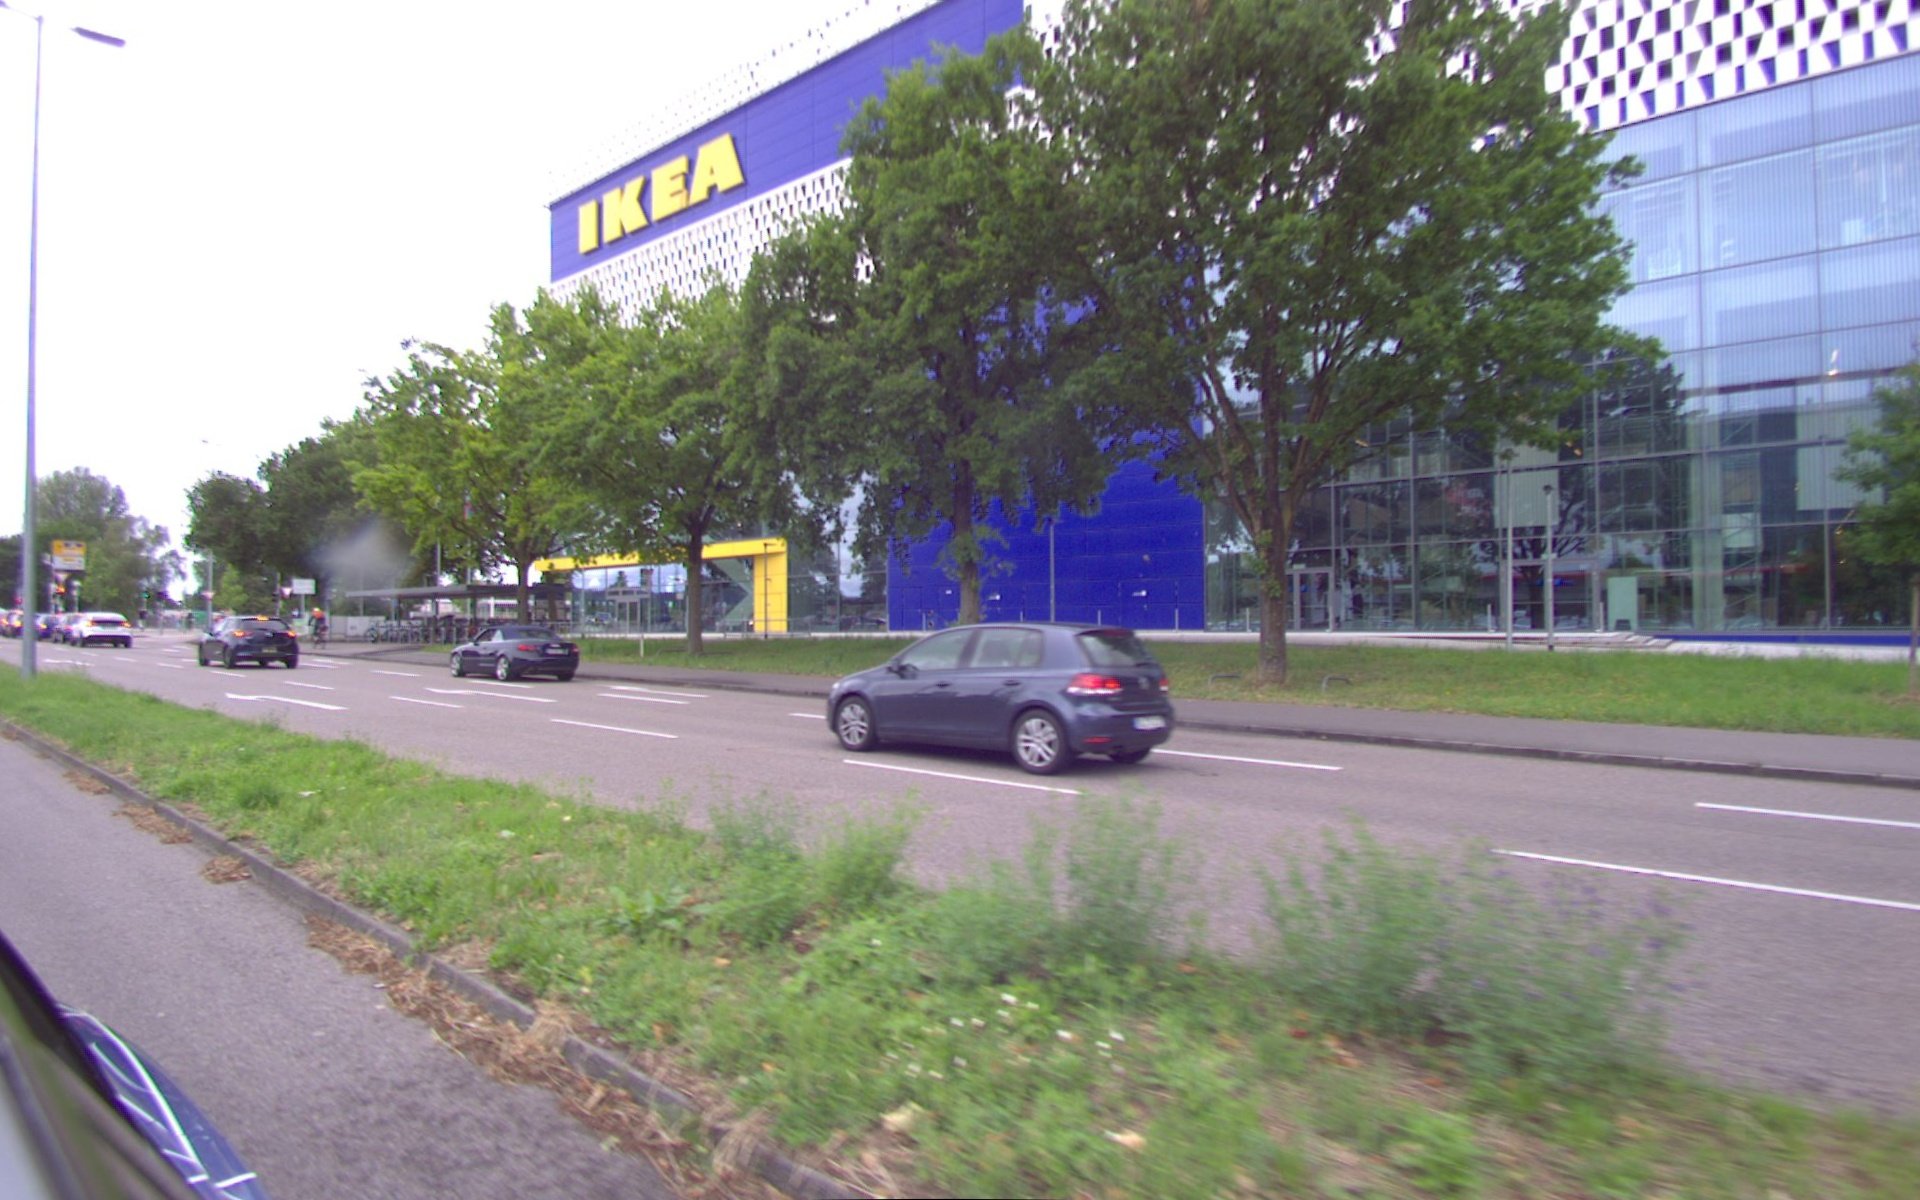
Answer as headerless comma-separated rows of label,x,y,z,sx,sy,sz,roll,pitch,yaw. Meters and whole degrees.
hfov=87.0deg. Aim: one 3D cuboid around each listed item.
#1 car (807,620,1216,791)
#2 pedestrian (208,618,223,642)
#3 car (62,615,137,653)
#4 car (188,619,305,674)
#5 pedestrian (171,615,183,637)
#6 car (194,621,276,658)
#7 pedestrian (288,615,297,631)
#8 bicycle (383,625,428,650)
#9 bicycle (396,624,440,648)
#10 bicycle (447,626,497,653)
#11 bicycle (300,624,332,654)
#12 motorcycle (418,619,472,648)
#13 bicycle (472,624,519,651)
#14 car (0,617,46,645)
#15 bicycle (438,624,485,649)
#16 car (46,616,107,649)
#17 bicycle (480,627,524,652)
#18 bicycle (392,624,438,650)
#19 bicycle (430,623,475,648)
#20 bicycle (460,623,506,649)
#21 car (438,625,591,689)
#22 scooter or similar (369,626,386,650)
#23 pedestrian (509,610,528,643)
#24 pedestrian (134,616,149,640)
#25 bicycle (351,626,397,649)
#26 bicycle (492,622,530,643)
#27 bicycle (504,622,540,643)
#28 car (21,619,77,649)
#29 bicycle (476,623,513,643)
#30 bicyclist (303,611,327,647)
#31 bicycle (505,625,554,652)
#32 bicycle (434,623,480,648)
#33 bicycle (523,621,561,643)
car,0.414,0.982,10.789,4.180,1.467,1.761,-1,-3,41
pedestrian,-52.463,2.131,71.300,0.808,1.655,0.627,1,0,38
car,-38.502,1.502,45.239,4.180,1.530,1.911,1,-1,41
car,-20.496,1.293,29.039,3.997,1.464,1.740,-1,-3,40
pedestrian,-63.670,2.103,82.322,0.766,1.725,0.666,-1,-2,44
car,-30.383,1.648,42.363,4.166,1.465,1.846,-1,-3,41
pedestrian,-66.285,2.301,100.459,0.711,1.572,0.623,-4,-3,42
bicycle,-27.563,1.844,50.314,0.593,1.165,1.874,-1,0,41
bicycle,-28.853,1.899,53.897,1.988,1.165,0.595,-2,0,-33
bicycle,-22.423,1.807,46.488,1.989,1.165,0.595,-2,0,-35
bicycle,-28.836,1.734,45.292,2.055,1.260,0.636,-2,0,41
motorcycle,-26.682,1.722,52.507,0.796,1.365,2.476,-1,0,28
bicycle,-22.444,1.804,48.905,0.593,1.165,1.995,-1,0,41
car,-53.331,1.735,57.454,4.062,1.514,1.645,-1,-1,40
bicycle,-24.635,1.783,50.043,0.593,1.165,1.995,-1,0,41
car,-43.286,1.562,49.561,4.034,1.509,1.586,0,-3,40
bicycle,-21.618,1.846,47.805,0.593,1.090,1.791,-1,0,41
bicycle,-26.728,1.811,49.629,0.593,1.165,1.874,-1,0,41
bicycle,-25.854,1.810,51.590,0.593,1.165,1.995,-1,0,41
bicycle,-23.437,1.768,49.746,0.593,1.165,1.995,-1,0,41
car,-11.352,1.402,25.691,4.401,1.463,1.754,-1,-3,40
scooter or similar,-29.851,1.923,51.909,0.353,1.194,1.296,-1,0,-12
pedestrian,-23.950,1.454,54.916,0.808,1.759,0.670,-2,-2,41
pedestrian,-62.947,2.143,77.807,0.686,1.778,0.656,3,-2,38
bicycle,-30.354,1.929,52.451,0.593,1.165,1.995,-1,-1,41
bicycle,-26.783,1.942,60.355,0.593,1.165,1.996,-1,0,39
bicycle,-25.692,1.901,59.331,0.591,1.165,2.003,-1,0,27
car,-48.267,1.792,53.600,4.140,1.455,1.586,0,-3,40
bicycle,-28.502,1.991,61.929,0.593,1.165,1.996,-1,0,39
bicyclist,-28.844,1.299,45.269,0.999,1.589,0.634,-2,0,41
bicycle,-19.791,1.769,46.584,0.593,1.131,1.994,-1,0,43
bicycle,-25.364,1.802,51.073,0.593,1.165,1.995,-1,0,41
bicycle,-23.964,1.818,58.001,0.592,1.165,1.999,-1,0,34
